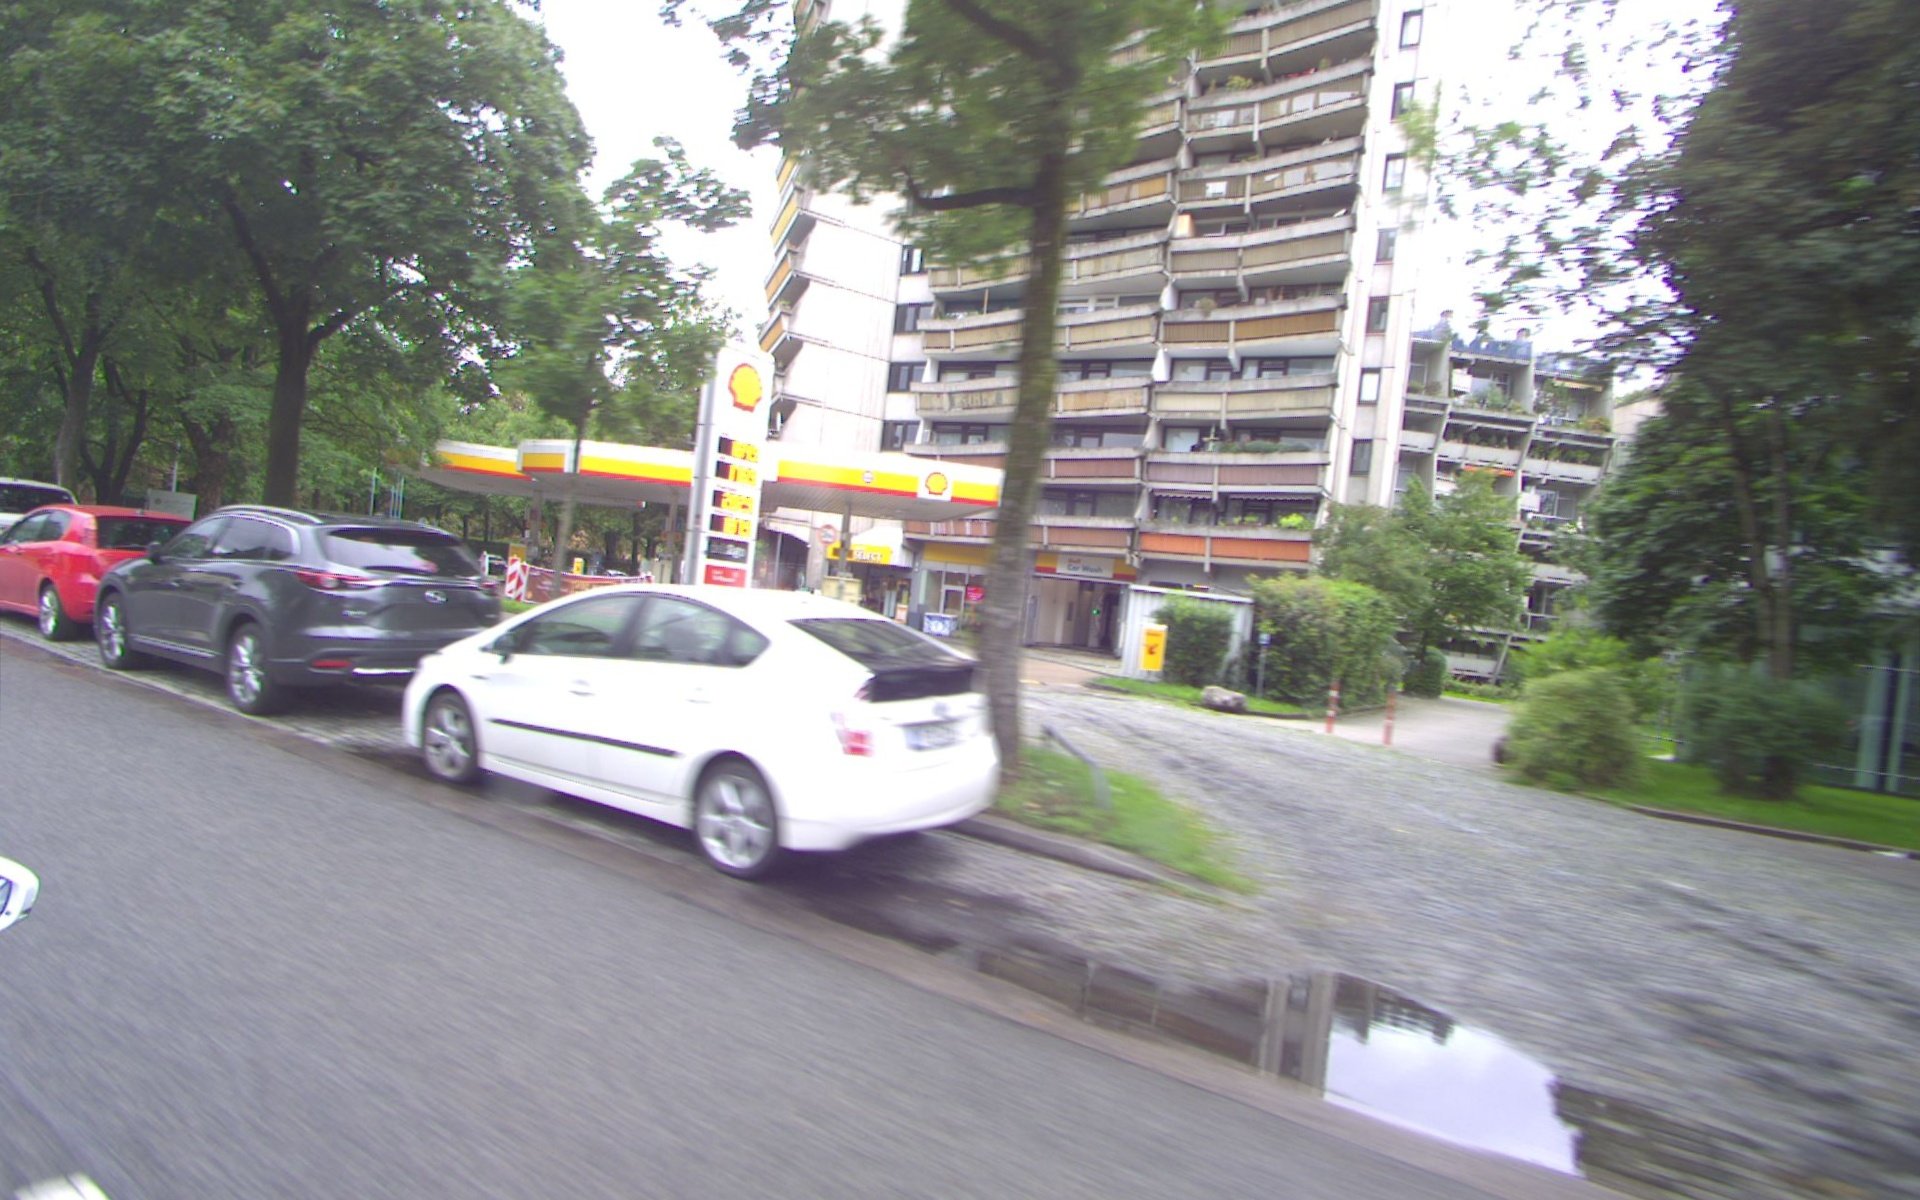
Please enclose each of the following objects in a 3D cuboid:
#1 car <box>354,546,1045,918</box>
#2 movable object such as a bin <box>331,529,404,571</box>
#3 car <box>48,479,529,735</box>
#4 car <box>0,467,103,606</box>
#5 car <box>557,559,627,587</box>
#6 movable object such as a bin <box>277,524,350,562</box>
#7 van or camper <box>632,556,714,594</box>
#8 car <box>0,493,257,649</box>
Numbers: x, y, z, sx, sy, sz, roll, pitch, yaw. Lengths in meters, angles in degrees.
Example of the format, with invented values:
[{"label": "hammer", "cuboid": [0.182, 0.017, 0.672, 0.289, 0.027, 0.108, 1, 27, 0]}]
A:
[{"label": "car", "cuboid": [-1.914, 0.600, 6.759, 4.556, 1.473, 1.761, 7, 2, 32]}, {"label": "movable object such as a bin", "cuboid": [-26.167, -2.195, 44.443, 1.807, 1.505, 2.063, 7, 0, 32]}, {"label": "car", "cuboid": [-6.537, -0.078, 9.566, 5.143, 1.721, 1.761, 7, 2, 32]}, {"label": "car", "cuboid": [-14.821, -1.088, 15.015, 4.453, 1.855, 1.761, 7, 2, 32]}, {"label": "car", "cuboid": [-24.457, -1.769, 66.990, 1.742, 1.633, 4.021, 8, 5, 38]}, {"label": "movable object such as a bin", "cuboid": [-27.310, -2.410, 42.535, 1.506, 1.279, 2.062, 7, 0, 32]}, {"label": "van or camper", "cuboid": [-20.658, -1.807, 72.611, 2.522, 2.395, 5.077, 8, 5, 38]}, {"label": "car", "cuboid": [-10.659, -0.414, 12.383, 4.074, 1.527, 1.761, 7, 2, 32]}]
